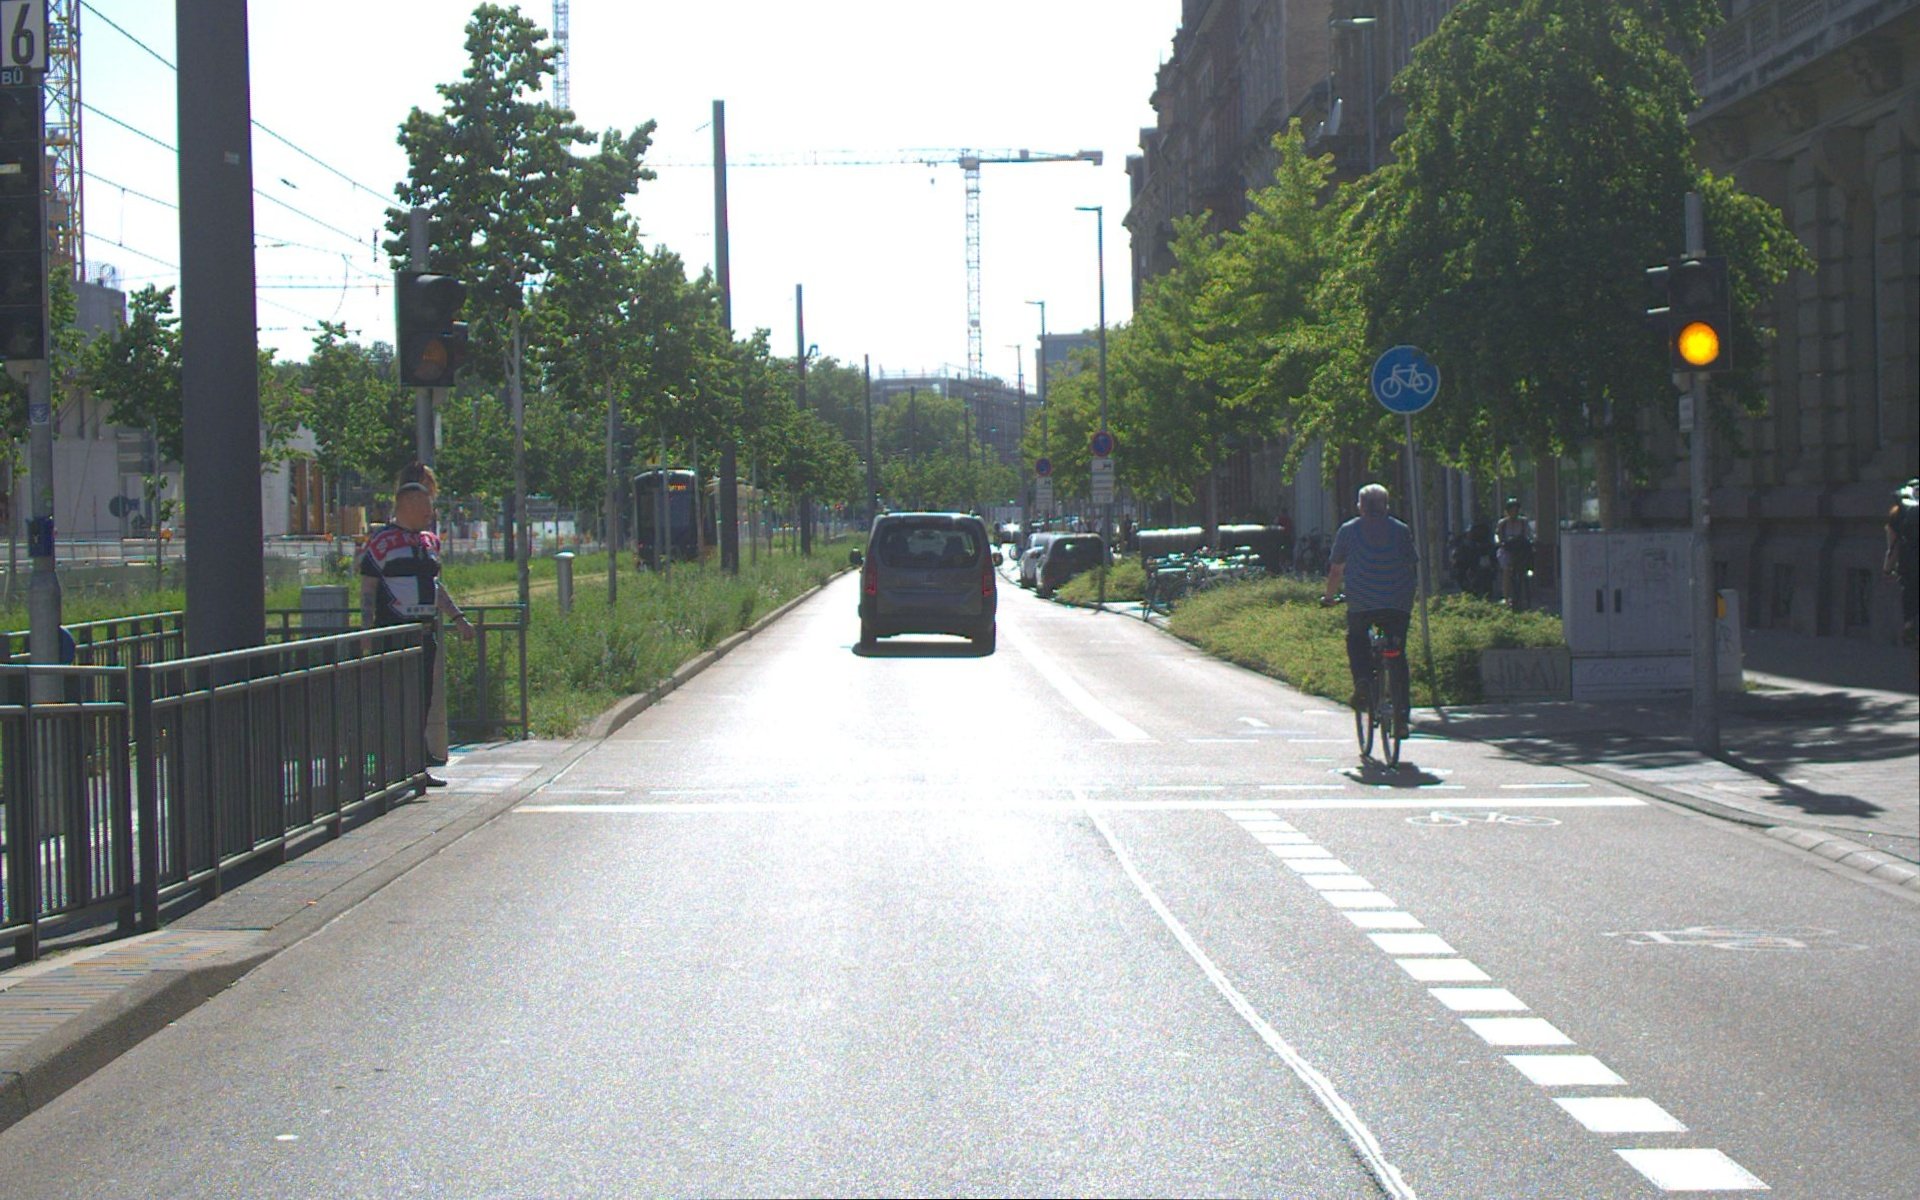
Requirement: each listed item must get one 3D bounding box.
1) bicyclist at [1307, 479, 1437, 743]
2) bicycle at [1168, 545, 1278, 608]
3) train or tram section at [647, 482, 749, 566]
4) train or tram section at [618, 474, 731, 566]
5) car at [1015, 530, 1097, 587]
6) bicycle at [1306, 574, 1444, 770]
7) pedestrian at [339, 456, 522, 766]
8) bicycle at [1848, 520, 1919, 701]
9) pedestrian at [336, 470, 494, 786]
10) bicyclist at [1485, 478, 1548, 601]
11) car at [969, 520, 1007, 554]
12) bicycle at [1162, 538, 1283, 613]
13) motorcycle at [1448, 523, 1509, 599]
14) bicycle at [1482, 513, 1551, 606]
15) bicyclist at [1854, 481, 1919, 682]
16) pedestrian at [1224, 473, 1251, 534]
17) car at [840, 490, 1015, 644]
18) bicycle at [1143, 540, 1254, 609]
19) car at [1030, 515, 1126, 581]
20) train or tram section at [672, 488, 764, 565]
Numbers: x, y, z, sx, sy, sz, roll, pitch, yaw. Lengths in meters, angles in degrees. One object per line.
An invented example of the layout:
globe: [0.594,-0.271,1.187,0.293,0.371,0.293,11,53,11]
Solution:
bicyclist: [2.665,0.062,22.304,0.684,1.667,0.922,1,1,-2]
bicycle: [4.417,-0.399,57.789,1.792,1.027,0.527,-1,1,-1]
train or tram section: [-8.893,-2.553,117.811,2.756,2.733,9.864,0,1,0]
train or tram section: [-8.877,-2.445,107.964,2.756,2.733,9.864,0,1,0]
car: [2.615,-1.173,94.952,2.028,1.493,4.530,-1,1,-1]
bicycle: [2.668,0.438,22.271,0.601,1.177,1.869,1,1,-2]
pedestrian: [-3.335,0.059,21.730,1.075,1.902,0.653,-1,1,-7]
bicycle: [7.614,0.055,27.296,0.615,1.326,1.900,-5,1,3]
pedestrian: [-3.145,0.146,19.916,0.865,1.782,0.971,0,1,-7]
bicyclist: [7.530,-0.818,46.547,0.666,1.633,0.960,-1,1,-1]
car: [1.527,-3.442,189.700,1.993,1.831,4.000,0,1,-1]
bicycle: [4.177,-0.390,54.748,1.792,1.027,0.527,-5,1,-1]
motorcycle: [8.954,-0.687,59.464,0.700,1.263,1.982,-1,1,-1]
bicycle: [7.532,-0.562,46.599,0.583,1.218,1.900,-1,1,-1]
bicyclist: [7.564,-0.163,27.228,0.660,1.525,0.801,-5,1,3]
pedestrian: [7.378,-2.565,91.386,0.614,1.606,0.669,-1,1,-1]
car: [-0.461,-0.463,46.241,2.200,1.919,4.654,-1,1,-1]
bicycle: [4.106,-0.441,59.226,1.792,1.027,0.527,-5,1,-1]
car: [2.792,-1.262,82.440,2.028,1.493,4.654,-1,1,-1]
train or tram section: [-8.919,-2.661,127.653,2.756,2.733,9.864,0,1,0]
